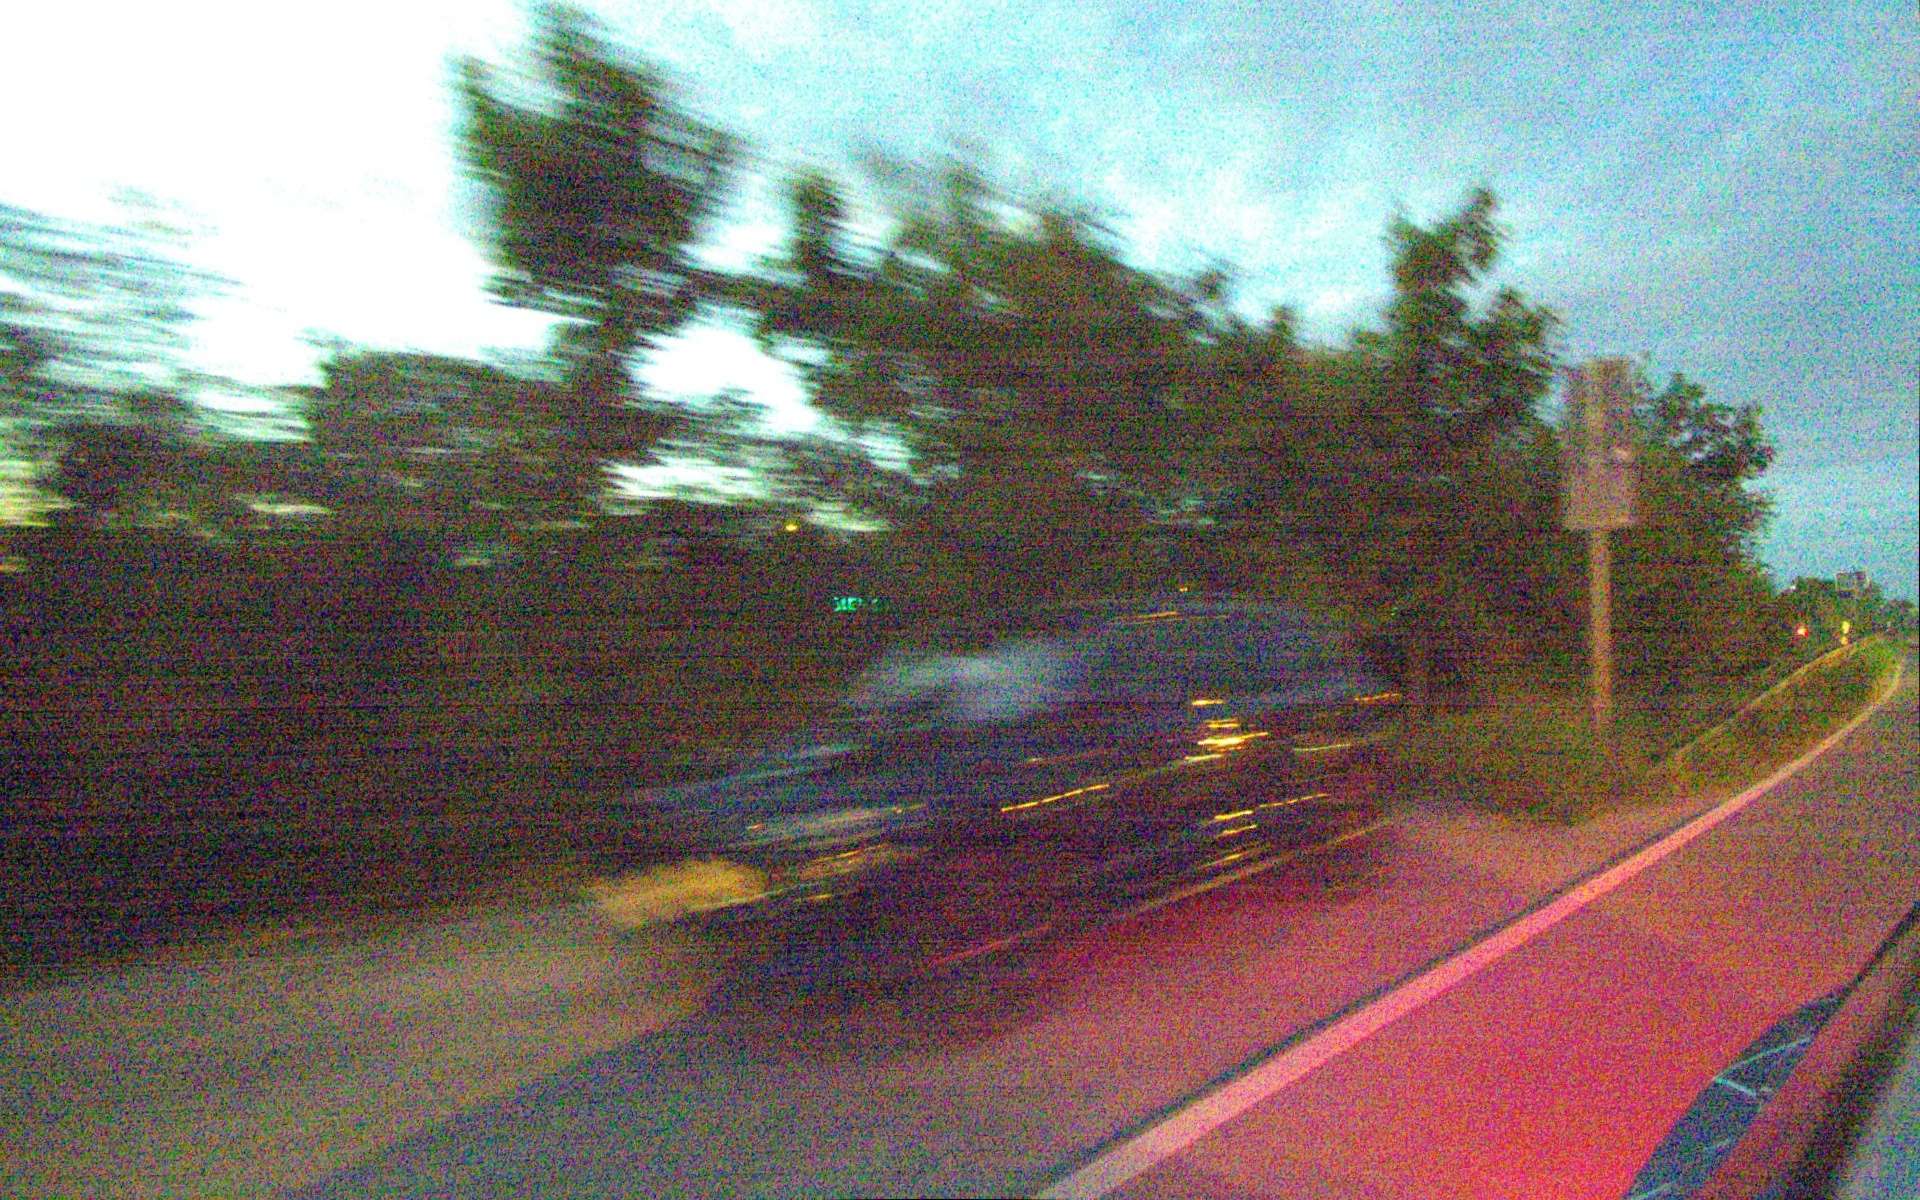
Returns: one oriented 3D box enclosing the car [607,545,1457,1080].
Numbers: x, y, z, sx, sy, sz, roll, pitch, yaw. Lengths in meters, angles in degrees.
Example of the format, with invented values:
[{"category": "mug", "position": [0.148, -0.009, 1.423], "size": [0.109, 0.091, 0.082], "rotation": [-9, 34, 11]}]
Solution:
[{"category": "car", "position": [0.660, 0.673, 5.188], "size": [4.253, 1.572, 1.995], "rotation": [1, -2, -43]}]
